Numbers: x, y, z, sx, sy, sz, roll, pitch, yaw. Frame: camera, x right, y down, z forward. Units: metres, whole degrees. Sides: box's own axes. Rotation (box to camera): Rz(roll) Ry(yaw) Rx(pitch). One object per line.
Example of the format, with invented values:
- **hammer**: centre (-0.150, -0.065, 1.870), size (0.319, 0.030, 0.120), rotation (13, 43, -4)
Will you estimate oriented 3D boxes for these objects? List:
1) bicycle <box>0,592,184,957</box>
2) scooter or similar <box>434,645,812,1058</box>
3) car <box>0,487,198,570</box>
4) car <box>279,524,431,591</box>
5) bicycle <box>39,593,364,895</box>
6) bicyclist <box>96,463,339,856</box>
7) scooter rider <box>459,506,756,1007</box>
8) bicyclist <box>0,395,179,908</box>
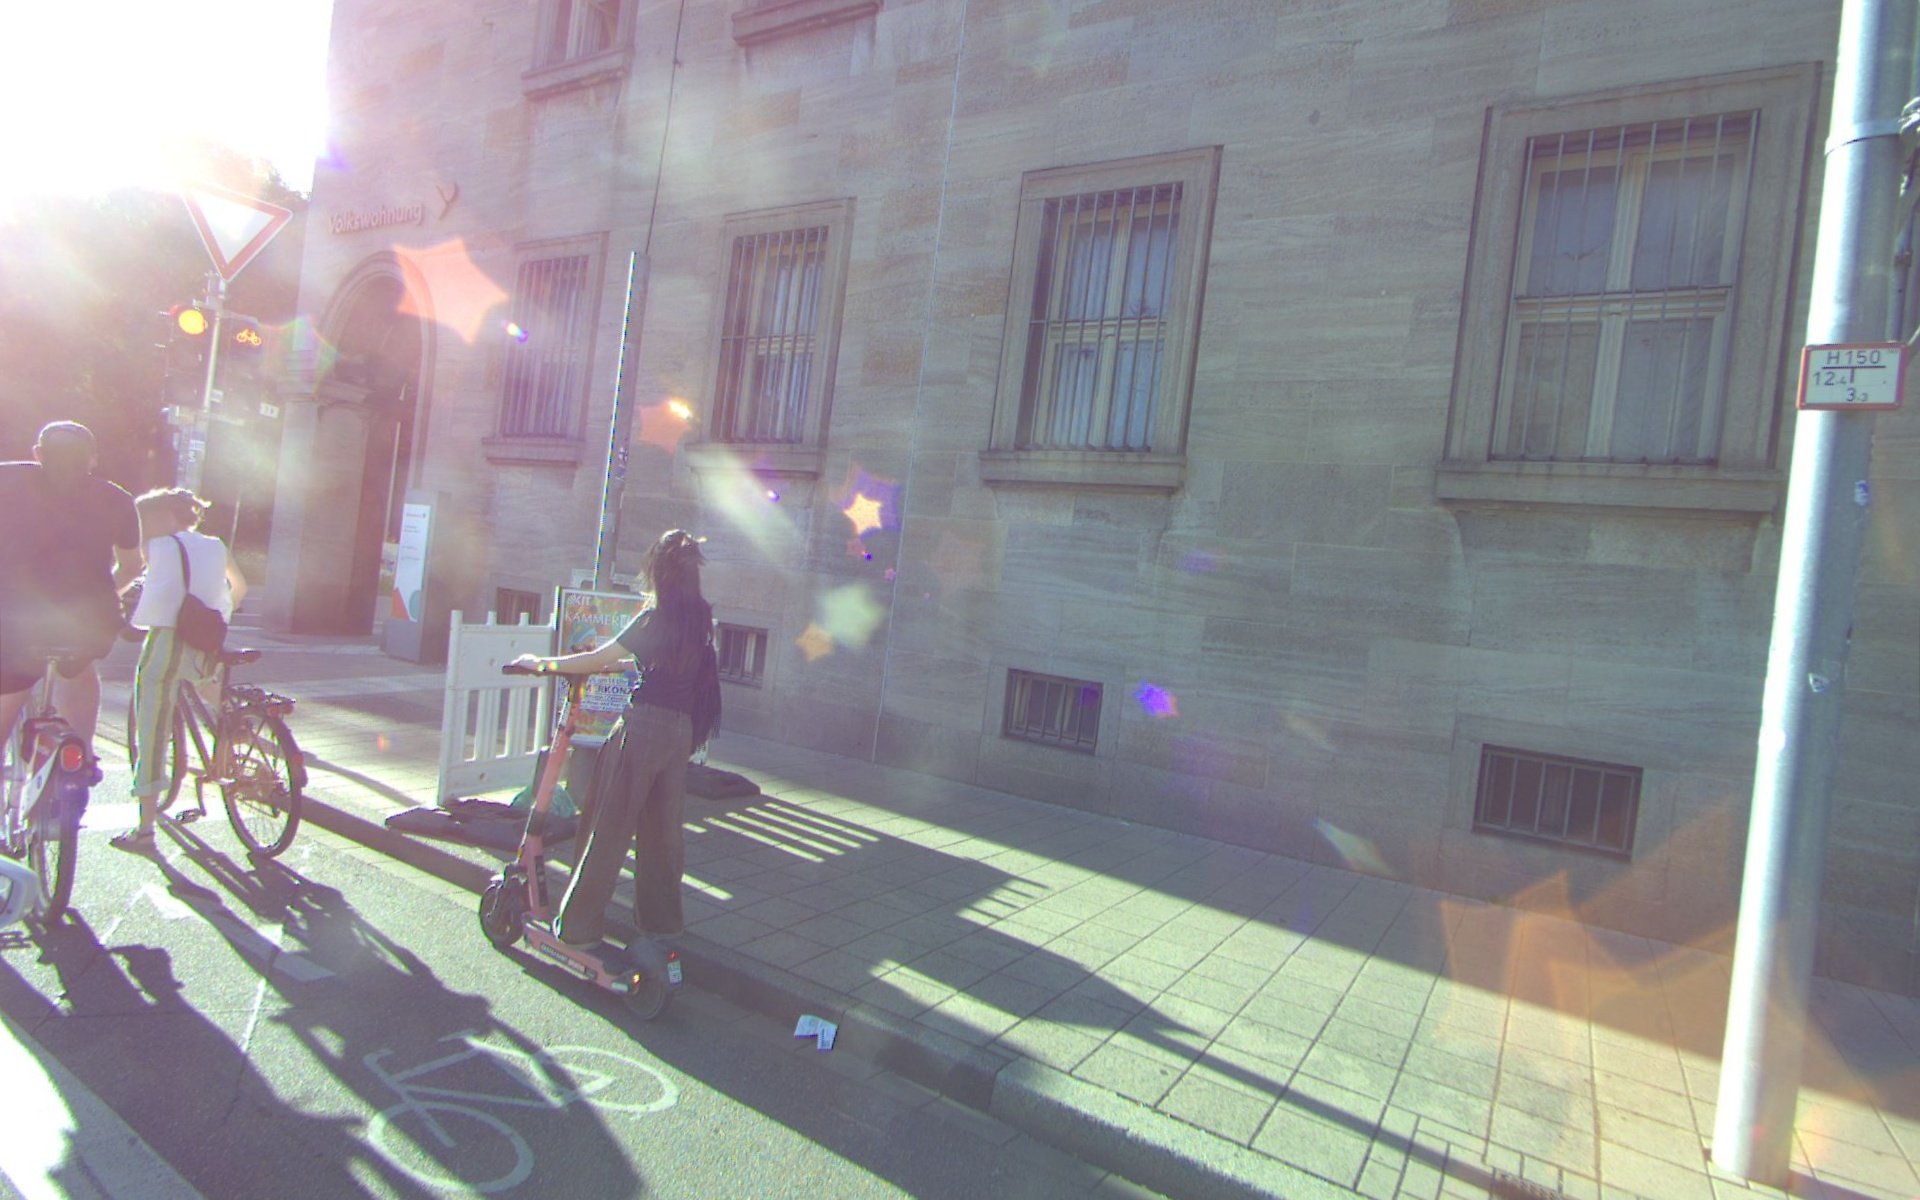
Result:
- **bicycle**: centre (-3.732, 0.572, 3.914), size (1.700, 1.090, 0.516), rotation (7, -1, 34)
- **scooter or similar**: centre (-1.309, 0.857, 3.847), size (1.305, 1.199, 0.535), rotation (7, 0, 31)
- **car**: centre (-23.364, -1.894, 27.188), size (1.623, 1.630, 3.999), rotation (7, -1, 31)
- **car**: centre (-19.816, -1.351, 33.095), size (1.623, 1.630, 3.854), rotation (7, -1, 31)
- **bicycle**: centre (-3.676, 0.619, 4.832), size (1.721, 1.090, 0.535), rotation (7, -1, 31)
- **bicyclist**: centre (-3.529, 0.264, 4.794), size (0.629, 1.711, 0.558), rotation (7, -1, 30)
- **scooter rider**: centre (-1.334, 0.550, 3.878), size (0.547, 1.691, 0.730), rotation (7, 0, 31)
- **bicyclist**: centre (-3.543, 0.191, 3.844), size (0.541, 1.820, 0.559), rotation (7, -1, 33)
